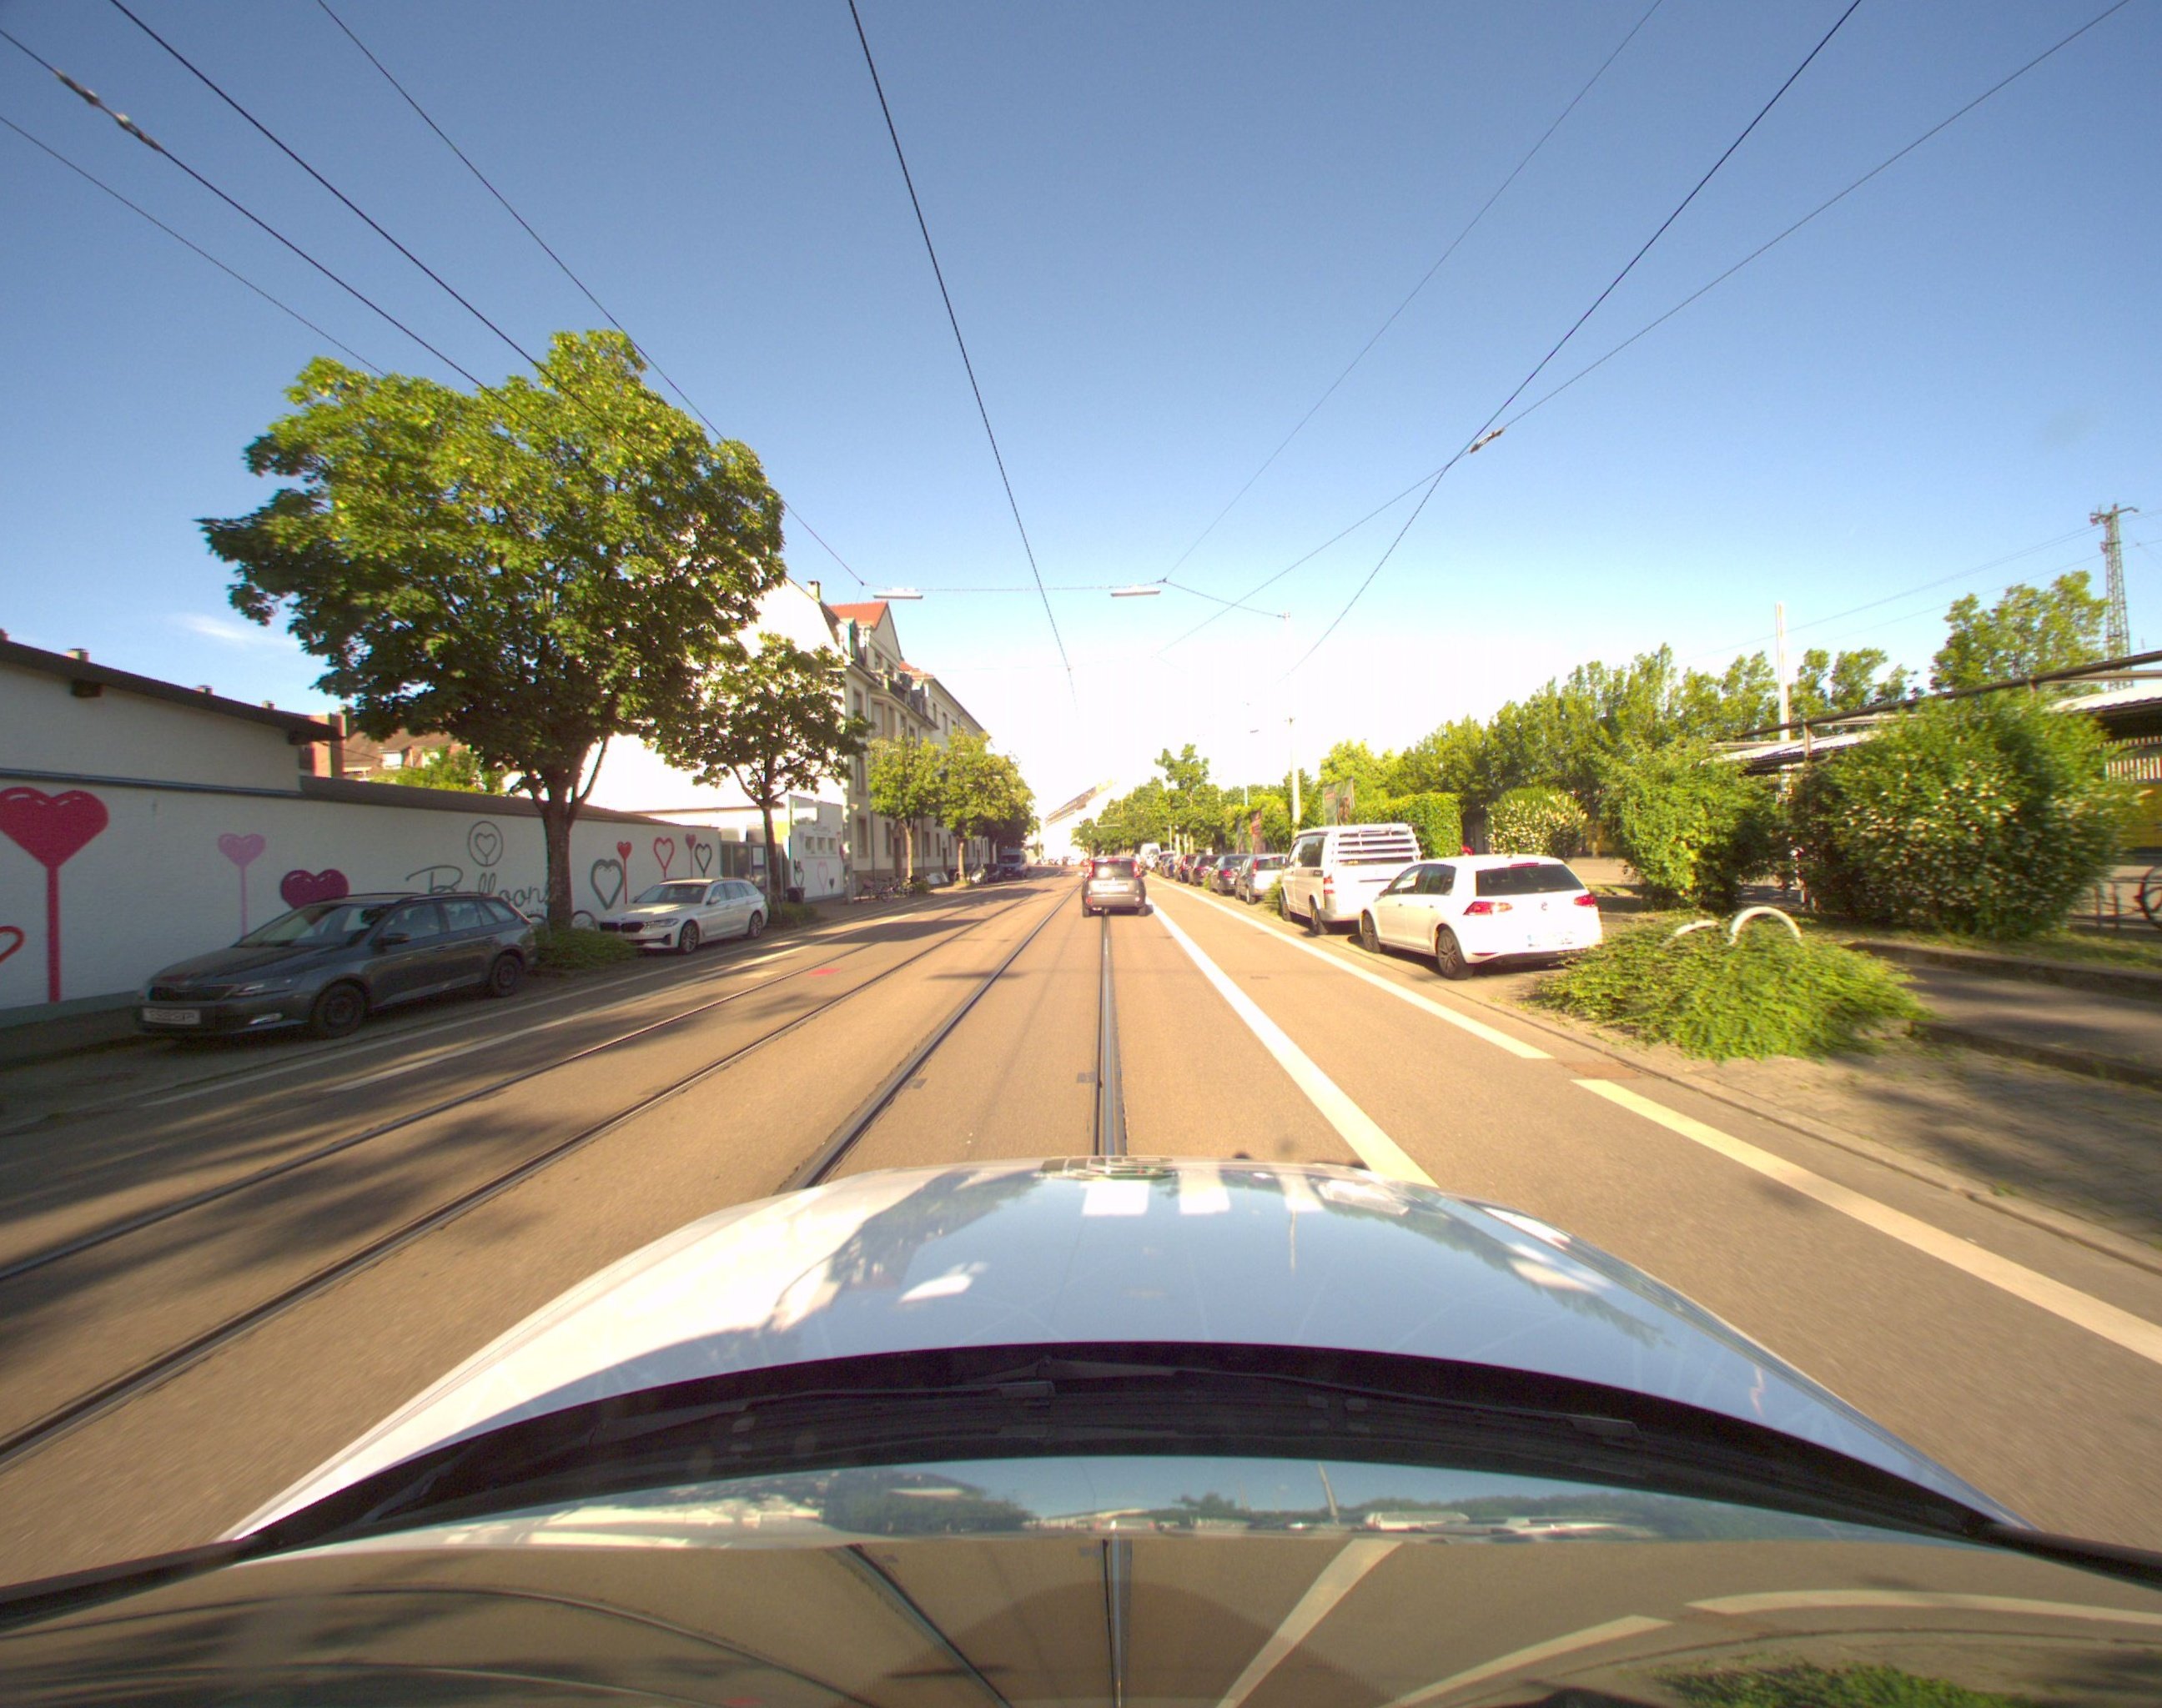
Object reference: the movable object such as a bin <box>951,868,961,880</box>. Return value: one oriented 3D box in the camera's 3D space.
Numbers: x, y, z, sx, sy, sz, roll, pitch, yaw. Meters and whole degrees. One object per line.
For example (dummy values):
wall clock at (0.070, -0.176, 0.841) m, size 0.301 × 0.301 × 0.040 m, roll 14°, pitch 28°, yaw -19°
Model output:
movable object such as a bin at (-9.634, 1.542, 62.783) m, size 0.594 × 0.934 × 0.568 m, roll -3°, pitch 0°, yaw -1°

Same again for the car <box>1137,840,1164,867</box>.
car at (7.500, -0.038, 88.351) m, size 2.173 × 2.665 × 6.090 m, roll -4°, pitch -1°, yaw 0°

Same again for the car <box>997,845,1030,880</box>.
car at (-5.811, 0.749, 71.040) m, size 2.009 × 2.826 × 6.036 m, roll -1°, pitch -1°, yaw 3°

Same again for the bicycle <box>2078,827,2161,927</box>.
bicycle at (11.640, 0.214, 8.299) m, size 1.883 × 1.008 × 0.579 m, roll -1°, pitch -1°, yaw 13°

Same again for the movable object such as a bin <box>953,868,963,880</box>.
movable object such as a bin at (-9.659, 1.554, 63.985) m, size 0.594 × 0.934 × 0.568 m, roll -3°, pitch 0°, yaw -1°

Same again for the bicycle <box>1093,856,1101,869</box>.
bicycle at (2.229, 1.175, 111.906) m, size 0.675 × 1.747 × 2.151 m, roll -1°, pitch -1°, yaw -9°

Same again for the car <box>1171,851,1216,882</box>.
car at (6.096, 0.676, 44.519) m, size 1.818 × 1.492 × 3.814 m, roll -4°, pitch -1°, yaw 0°

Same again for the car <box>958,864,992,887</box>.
car at (-7.371, 1.461, 56.844) m, size 1.645 × 1.491 × 4.002 m, roll -1°, pitch -1°, yaw 2°

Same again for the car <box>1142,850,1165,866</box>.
car at (7.230, 0.405, 81.748) m, size 1.904 × 1.530 × 4.601 m, roll -3°, pitch -1°, yaw 1°

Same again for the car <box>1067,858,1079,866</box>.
car at (-1.557, 1.568, 157.439) m, size 1.655 × 1.571 × 3.488 m, roll -1°, pitch -1°, yaw -9°

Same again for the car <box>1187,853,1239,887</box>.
car at (6.154, 0.721, 38.461) m, size 1.817 × 1.452 × 4.644 m, roll -3°, pitch -1°, yaw 2°

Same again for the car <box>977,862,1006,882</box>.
car at (-6.900, 1.389, 63.158) m, size 1.645 × 1.425 × 4.191 m, roll -1°, pitch -1°, yaw 2°

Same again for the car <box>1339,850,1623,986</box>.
car at (5.206, 0.735, 11.390) m, size 1.670 × 1.418 × 4.501 m, roll -4°, pitch -1°, yaw 0°

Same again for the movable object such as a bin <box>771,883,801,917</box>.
movable object such as a bin at (-8.957, 1.389, 24.721) m, size 0.579 × 0.960 × 0.702 m, roll 3°, pitch -1°, yaw 2°

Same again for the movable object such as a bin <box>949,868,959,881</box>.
movable object such as a bin at (-9.699, 1.538, 62.189) m, size 0.594 × 0.934 × 0.568 m, roll -3°, pitch 0°, yaw -1°

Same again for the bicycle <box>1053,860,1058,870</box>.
bicycle at (-5.122, 2.138, 164.295) m, size 0.741 × 2.014 × 2.802 m, roll -1°, pitch -1°, yaw -9°

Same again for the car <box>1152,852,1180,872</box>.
car at (7.032, 0.668, 67.751) m, size 1.723 × 1.604 × 4.340 m, roll -1°, pitch -1°, yaw -1°

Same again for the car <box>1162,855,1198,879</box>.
car at (6.437, 0.833, 53.398) m, size 1.723 × 1.464 × 4.339 m, roll -1°, pitch -1°, yaw -1°

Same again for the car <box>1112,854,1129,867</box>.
car at (5.199, 0.886, 107.709) m, size 1.686 × 1.530 × 3.992 m, roll -4°, pitch 0°, yaw -5°

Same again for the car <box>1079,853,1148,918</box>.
car at (0.848, 0.774, 21.870) m, size 1.644 × 1.541 × 4.236 m, roll -1°, pitch 0°, yaw 1°

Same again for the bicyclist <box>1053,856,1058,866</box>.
bicyclist at (-5.145, 1.385, 164.452) m, size 0.715 × 2.014 × 0.829 m, roll -1°, pitch -1°, yaw -10°

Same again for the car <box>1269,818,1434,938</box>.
car at (5.285, 0.434, 16.723) m, size 1.846 × 1.991 × 5.247 m, roll -3°, pitch -1°, yaw 3°

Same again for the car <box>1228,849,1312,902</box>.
car at (5.751, 0.638, 25.255) m, size 1.865 × 1.473 × 4.079 m, roll -1°, pitch -1°, yaw 4°

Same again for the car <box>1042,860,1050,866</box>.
car at (-8.502, 2.303, 199.766) m, size 1.583 × 1.405 × 3.365 m, roll -1°, pitch -1°, yaw -9°

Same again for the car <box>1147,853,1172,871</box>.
car at (6.933, 0.747, 72.536) m, size 1.723 × 1.512 × 4.249 m, roll -1°, pitch -1°, yaw -1°

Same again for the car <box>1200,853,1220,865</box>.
car at (11.338, 0.447, 71.733) m, size 1.304 × 1.033 × 3.056 m, roll -1°, pitch -1°, yaw 1°

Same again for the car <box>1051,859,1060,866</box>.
car at (-5.791, 1.991, 184.928) m, size 1.583 × 1.405 × 3.365 m, roll -6°, pitch 0°, yaw -9°

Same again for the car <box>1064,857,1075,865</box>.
car at (-2.277, 1.457, 161.817) m, size 1.655 × 1.571 × 3.864 m, roll -1°, pitch -1°, yaw -9°

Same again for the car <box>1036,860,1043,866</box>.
car at (-11.419, 2.497, 223.918) m, size 1.583 × 1.599 × 3.365 m, roll -1°, pitch -1°, yaw -9°

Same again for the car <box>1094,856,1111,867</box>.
car at (3.217, 1.133, 123.832) m, size 1.690 × 1.530 × 3.985 m, roll -4°, pitch 0°, yaw -11°

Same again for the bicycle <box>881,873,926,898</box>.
bicycle at (-8.039, 1.407, 37.014) m, size 1.998 × 1.040 × 0.526 m, roll -1°, pitch -1°, yaw -44°

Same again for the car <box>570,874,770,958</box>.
car at (-8.663, 1.229, 17.731) m, size 1.858 × 1.490 × 4.662 m, roll -1°, pitch -1°, yaw 1°

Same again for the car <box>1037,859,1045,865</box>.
car at (-10.439, 2.092, 211.987) m, size 1.583 × 1.599 × 3.365 m, roll -1°, pitch -1°, yaw -9°

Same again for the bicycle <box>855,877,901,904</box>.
bicycle at (-8.302, 1.469, 33.358) m, size 0.661 × 1.040 × 1.798 m, roll -2°, pitch -1°, yaw 39°

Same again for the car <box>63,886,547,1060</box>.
car at (-8.832, 1.221, 9.941) m, size 1.767 × 1.486 × 4.304 m, roll -1°, pitch -1°, yaw 0°

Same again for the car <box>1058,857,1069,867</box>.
car at (-3.745, 1.744, 171.402) m, size 1.655 × 1.944 × 4.650 m, roll -1°, pitch -1°, yaw -9°

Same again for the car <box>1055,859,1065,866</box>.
car at (-4.605, 1.883, 177.790) m, size 1.655 × 1.500 × 3.120 m, roll -1°, pitch -1°, yaw -9°

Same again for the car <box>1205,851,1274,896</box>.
car at (5.723, 0.672, 29.970) m, size 1.817 × 1.484 × 4.604 m, roll -1°, pitch -1°, yaw 3°

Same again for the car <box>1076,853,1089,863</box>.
car at (0.230, 0.705, 139.130) m, size 1.634 × 1.508 × 3.387 m, roll -5°, pitch 0°, yaw -8°
